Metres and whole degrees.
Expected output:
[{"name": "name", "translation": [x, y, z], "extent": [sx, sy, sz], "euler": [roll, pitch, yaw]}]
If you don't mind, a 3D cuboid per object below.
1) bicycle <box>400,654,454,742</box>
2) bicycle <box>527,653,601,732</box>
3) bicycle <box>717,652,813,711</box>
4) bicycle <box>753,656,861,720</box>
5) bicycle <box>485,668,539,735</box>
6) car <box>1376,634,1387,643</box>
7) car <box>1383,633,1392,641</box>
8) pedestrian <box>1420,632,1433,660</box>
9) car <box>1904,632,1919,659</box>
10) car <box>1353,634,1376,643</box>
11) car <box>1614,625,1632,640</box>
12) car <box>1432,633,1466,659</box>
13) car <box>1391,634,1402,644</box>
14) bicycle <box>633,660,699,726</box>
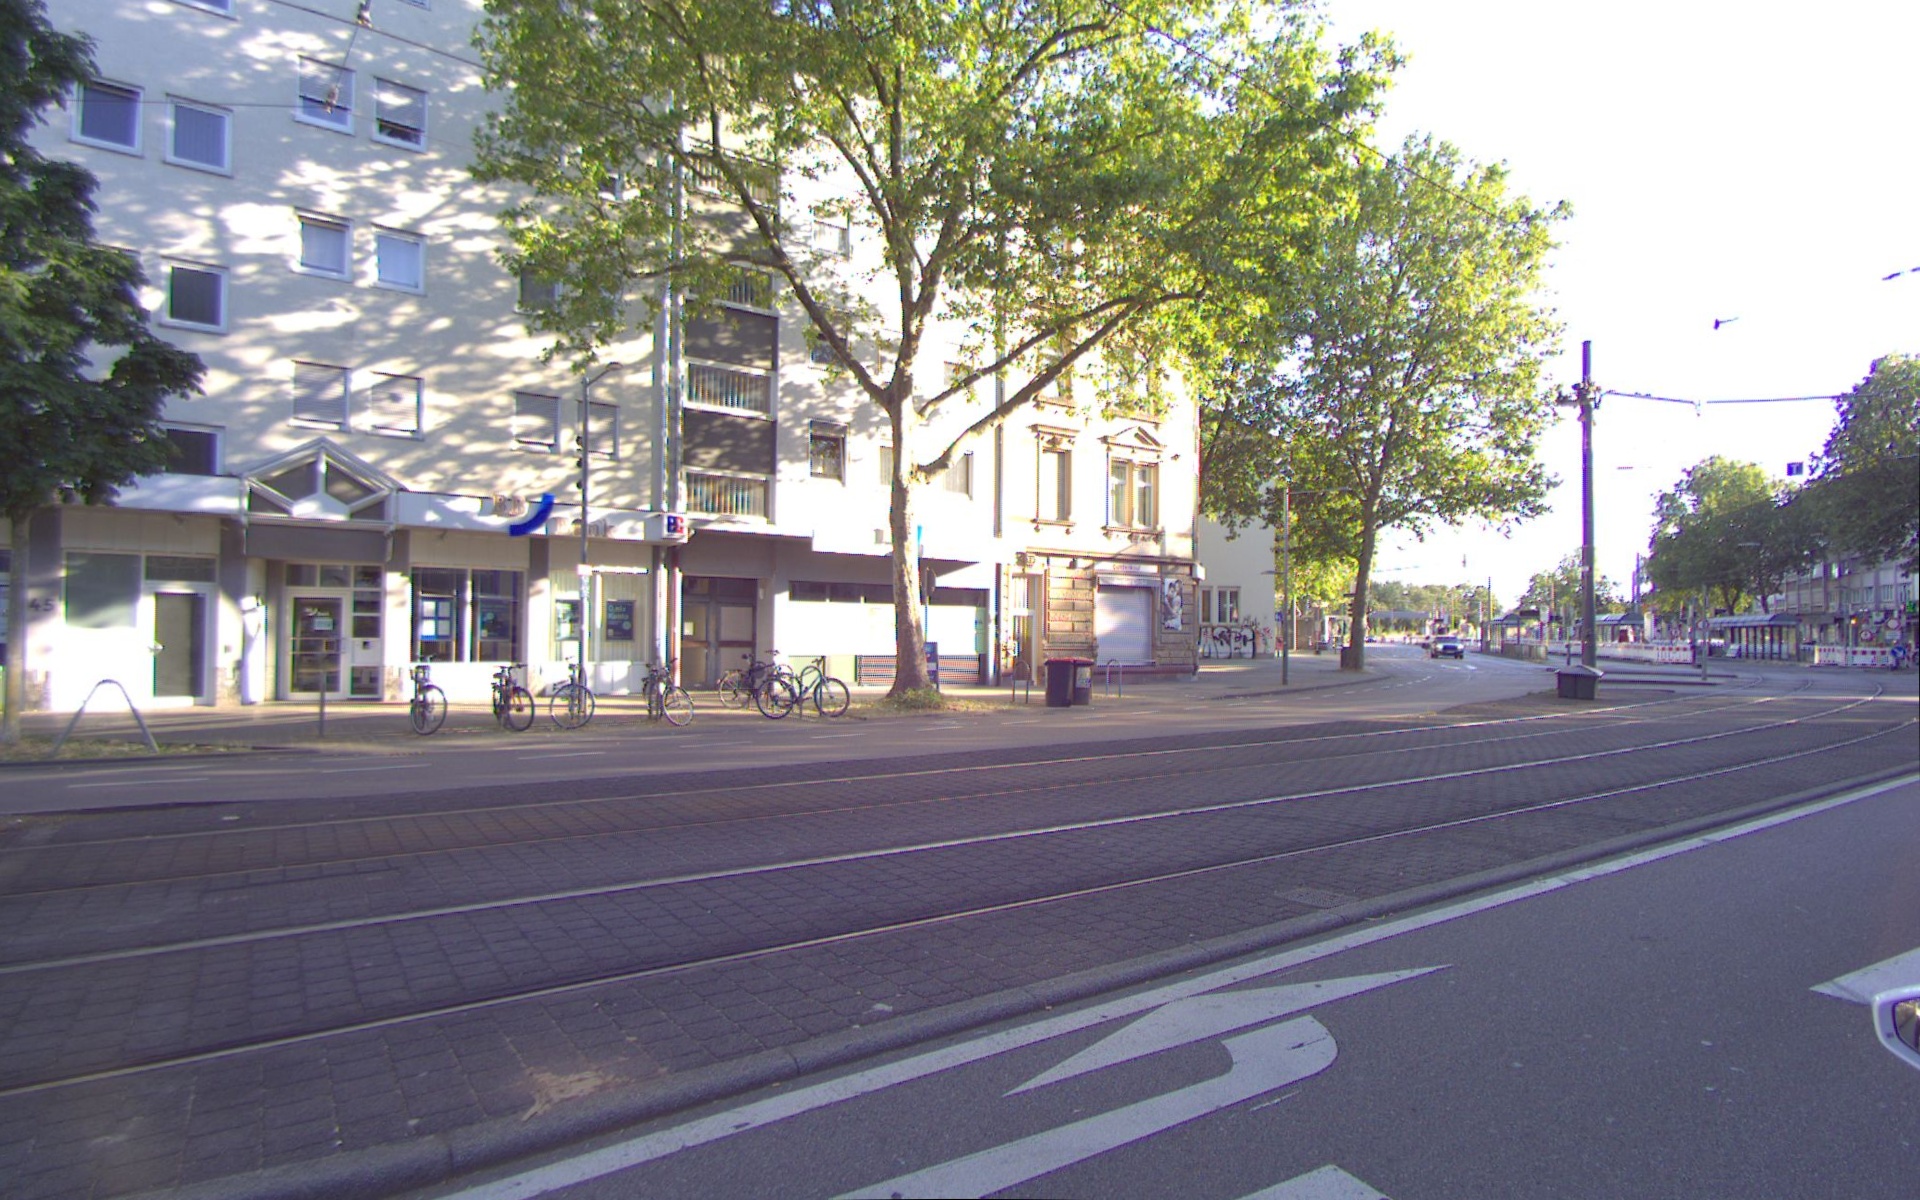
[{"name": "bicycle", "translation": [-7.844, 1.395, 14.743], "extent": [0.506, 1.153, 1.729], "euler": [2, -1, -34]}, {"name": "bicycle", "translation": [-6.357, 1.444, 16.077], "extent": [0.724, 1.128, 1.729], "euler": [2, -1, -34]}, {"name": "bicycle", "translation": [-3.873, 1.603, 20.004], "extent": [1.777, 1.132, 0.617], "euler": [2, -2, -29]}, {"name": "bicycle", "translation": [-2.753, 1.567, 18.132], "extent": [1.800, 1.091, 0.649], "euler": [2, -2, -29]}, {"name": "bicycle", "translation": [-6.960, 1.542, 15.557], "extent": [0.467, 0.900, 1.729], "euler": [2, -1, -34]}, {"name": "car", "translation": [79.422, 7.192, 189.331], "extent": [1.814, 1.706, 3.716], "euler": [0, -2, 23]}, {"name": "car", "translation": [89.538, 7.739, 210.281], "extent": [1.814, 1.706, 3.716], "euler": [0, -2, 23]}, {"name": "pedestrian", "translation": [27.829, 2.749, 59.879], "extent": [0.645, 1.678, 0.444], "euler": [0, -2, 18]}, {"name": "car", "translation": [64.438, 3.038, 66.058], "extent": [1.960, 1.815, 4.000], "euler": [2, -1, 20]}, {"name": "car", "translation": [78.208, 7.371, 194.285], "extent": [3.919, 1.661, 1.792], "euler": [0, -2, 13]}, {"name": "car", "translation": [89.000, 4.388, 134.860], "extent": [1.593, 2.040, 3.110], "euler": [0, -2, 26]}, {"name": "car", "translation": [32.882, 3.096, 67.594], "extent": [1.962, 1.661, 3.997], "euler": [0, -2, 25]}, {"name": "car", "translation": [78.744, 7.029, 181.348], "extent": [1.814, 1.706, 3.715], "euler": [-2, -2, 23]}, {"name": "bicycle", "translation": [-5.052, 1.563, 17.197], "extent": [0.584, 1.002, 1.729], "euler": [2, -1, -34]}]
